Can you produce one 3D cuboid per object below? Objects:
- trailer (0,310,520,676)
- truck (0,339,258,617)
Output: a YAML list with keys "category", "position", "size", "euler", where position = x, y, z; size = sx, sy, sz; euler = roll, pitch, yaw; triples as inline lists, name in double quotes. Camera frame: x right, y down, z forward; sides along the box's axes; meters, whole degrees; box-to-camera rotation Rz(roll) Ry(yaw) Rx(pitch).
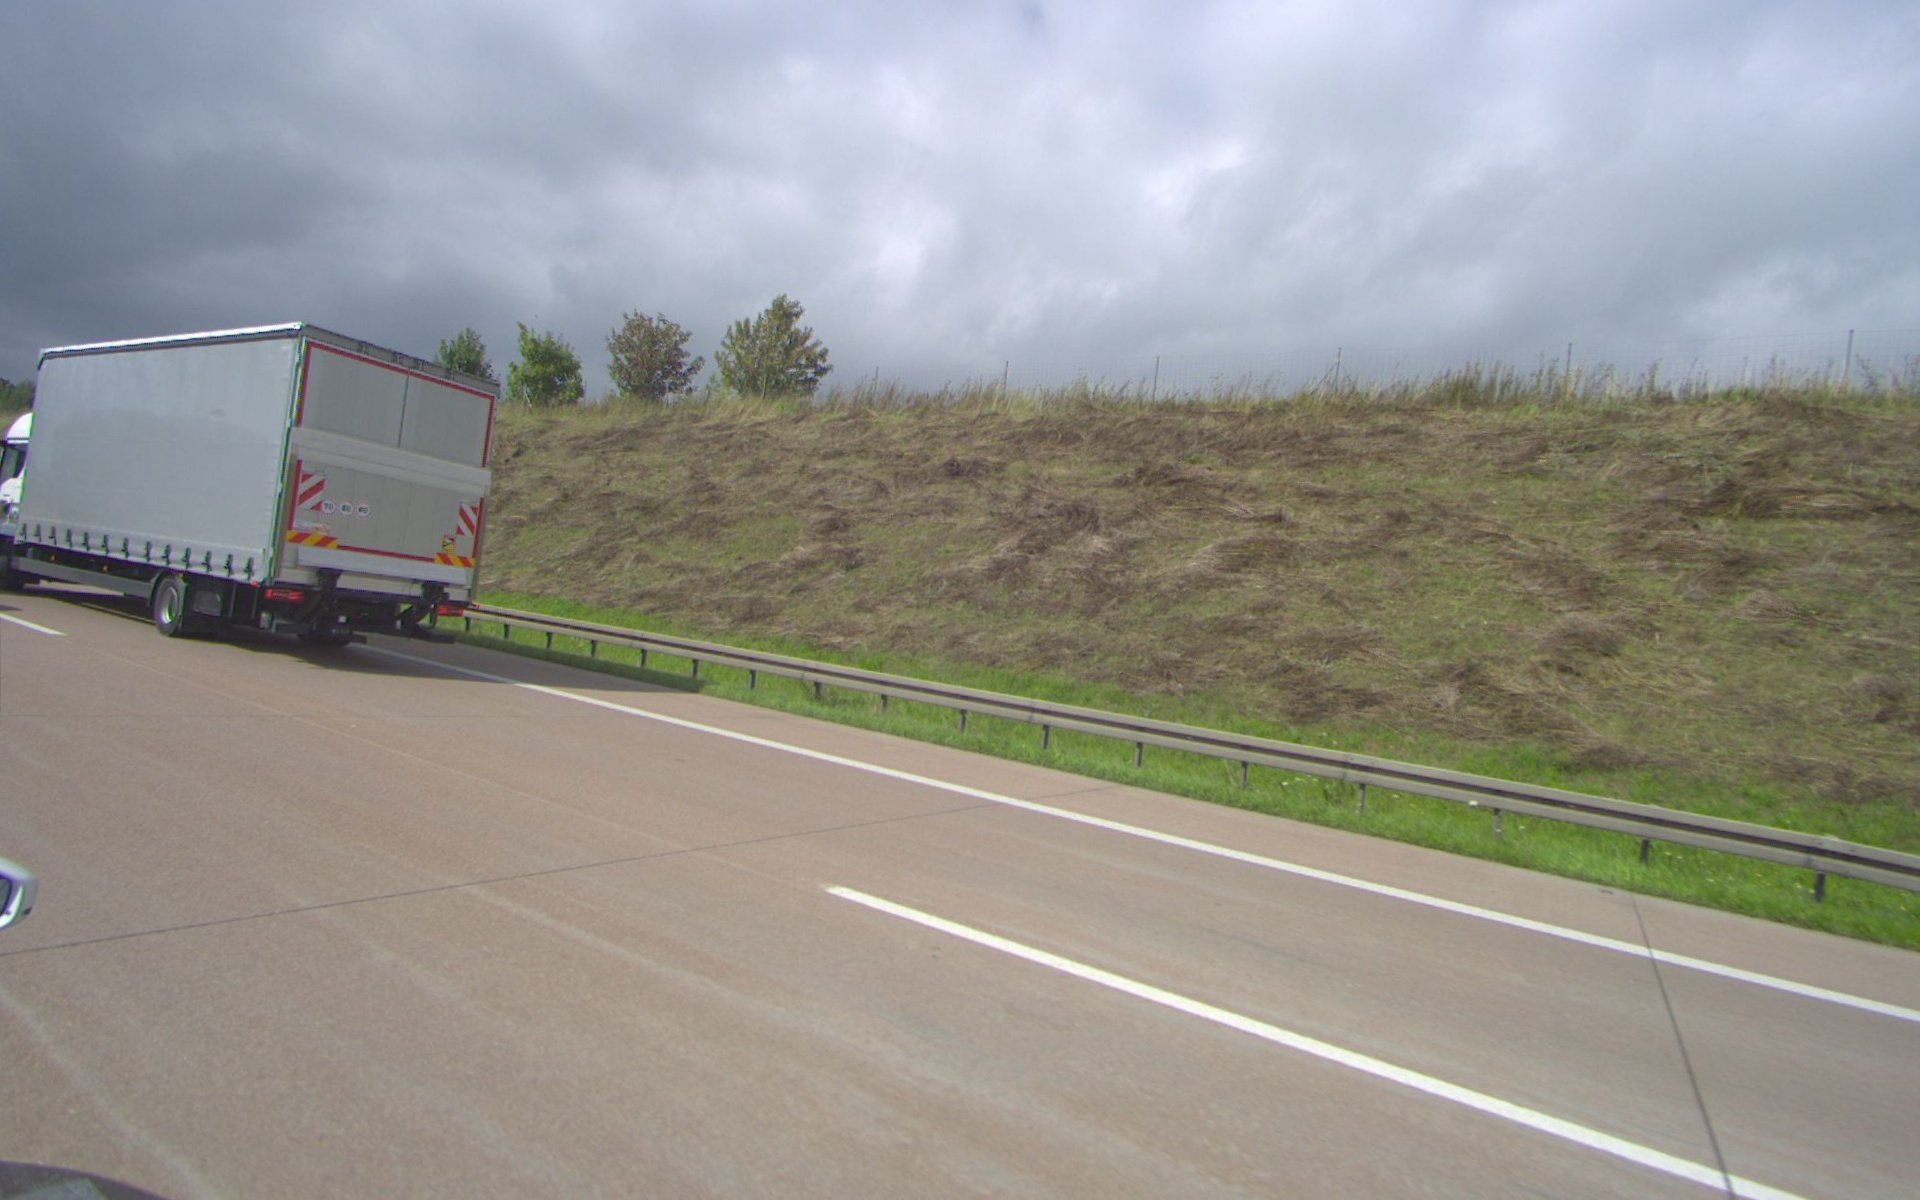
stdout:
- category: "trailer"
  position: [-10.563, -1.524, 14.673]
  size: [8.525, 4.058, 2.753]
  euler: [6, -1, 31]
- category: "truck"
  position: [-14.962, -2.012, 17.302]
  size: [4.469, 3.937, 2.754]
  euler: [7, -1, 31]
